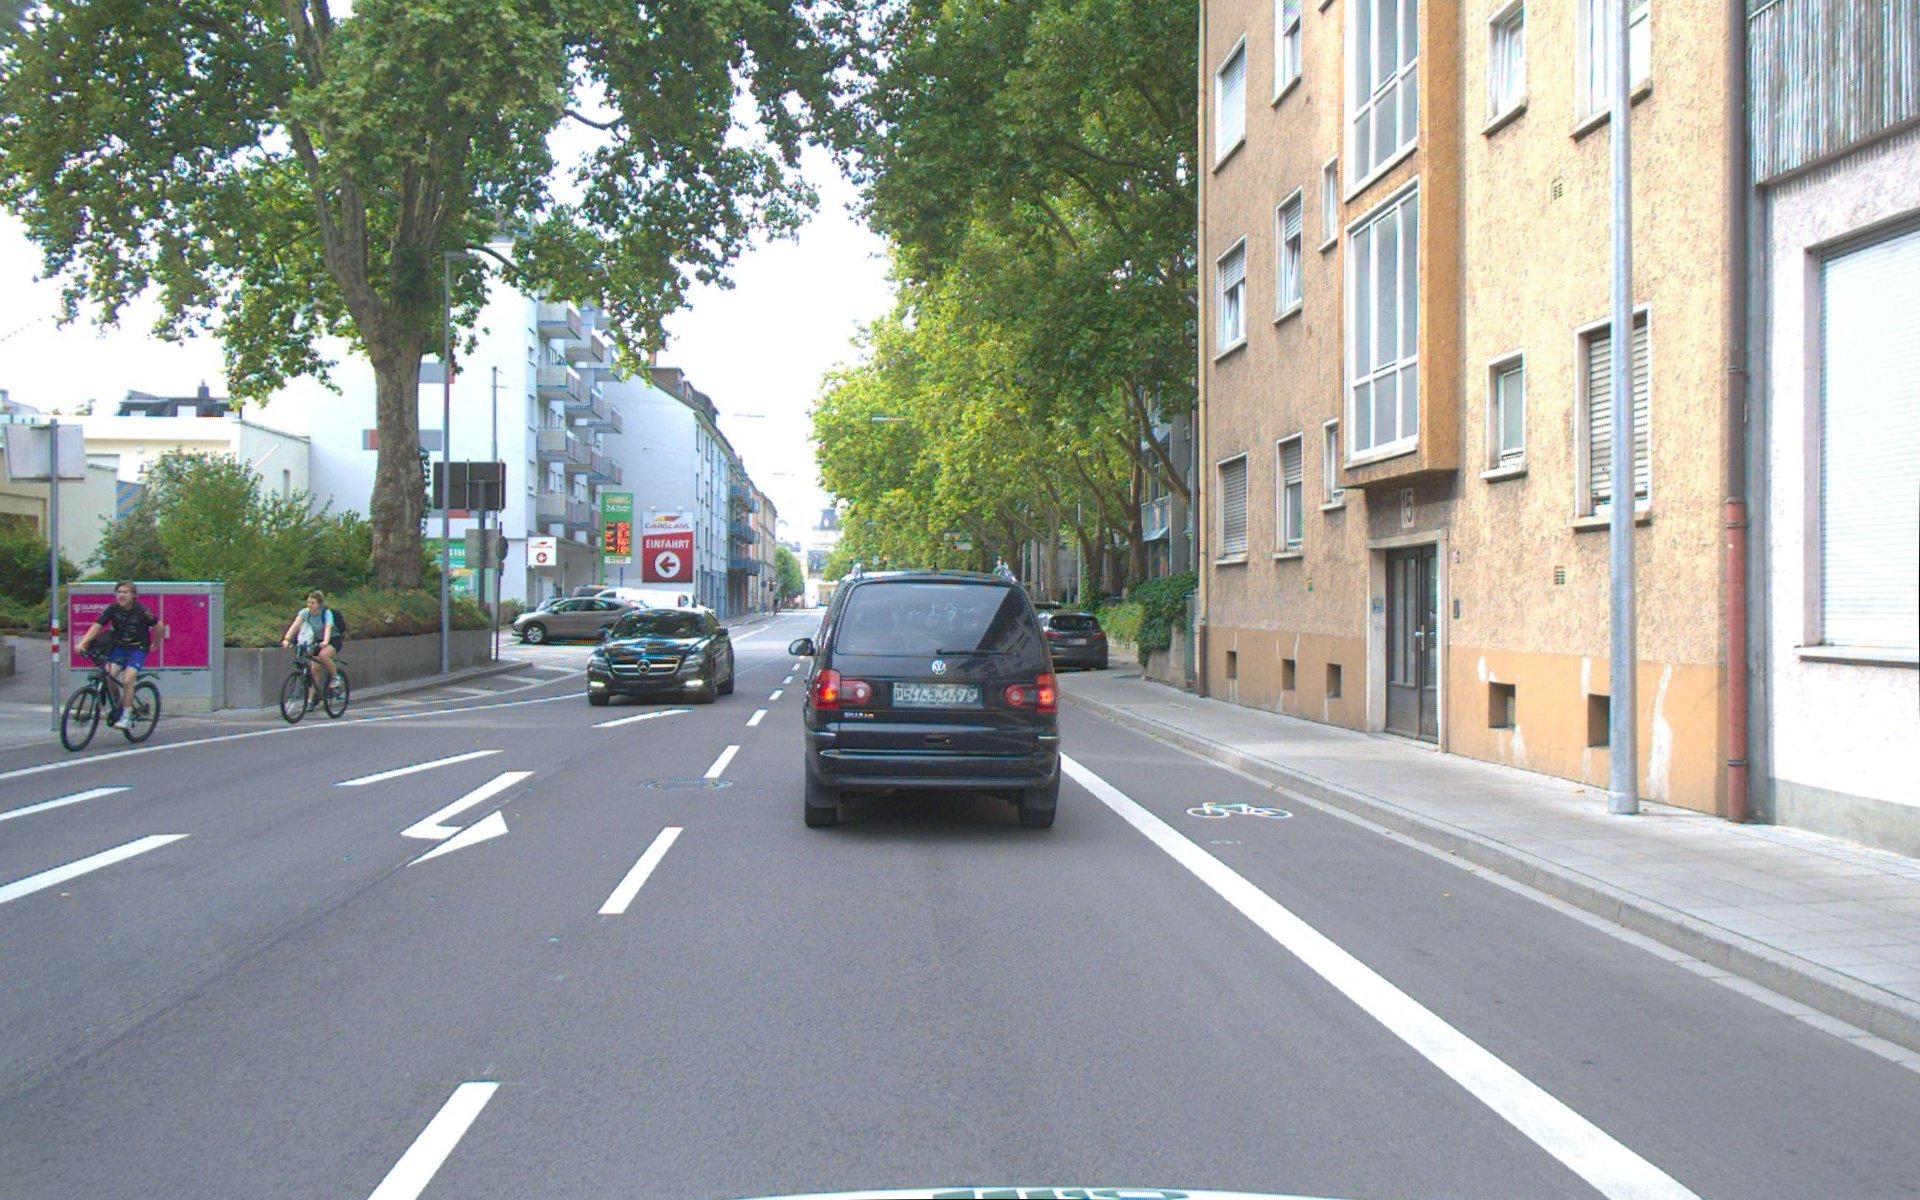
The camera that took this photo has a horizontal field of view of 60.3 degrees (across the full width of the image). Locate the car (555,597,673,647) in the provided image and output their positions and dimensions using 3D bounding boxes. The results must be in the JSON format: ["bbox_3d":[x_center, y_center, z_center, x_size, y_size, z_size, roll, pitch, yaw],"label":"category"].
[{"bbox_3d":[-12.448,0.789,59.625,3.861,1.597,1.753,2,0,-2],"label":"car"}]

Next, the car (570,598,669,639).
[{"bbox_3d":[-13.526,0.739,65.856,3.610,1.470,1.752,2,0,-5],"label":"car"}]

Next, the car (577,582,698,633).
[{"bbox_3d":[-13.791,0.336,70.943,4.820,1.936,1.998,3,-1,-5],"label":"car"}]

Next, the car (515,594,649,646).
[{"bbox_3d":[-12.995,0.675,57.003,4.172,1.633,1.967,2,1,-4],"label":"car"}]

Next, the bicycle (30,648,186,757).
[{"bbox_3d":[-9.404,1.101,18.347,0.722,1.024,1.976,2,1,-1],"label":"bicycle"}]

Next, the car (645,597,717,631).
[{"bbox_3d":[-13.496,0.682,80.060,3.278,1.523,1.594,2,-1,-6],"label":"car"}]

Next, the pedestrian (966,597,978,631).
[{"bbox_3d":[0.640,0.734,86.892,0.576,1.731,0.508,2,1,-3],"label":"pedestrian"}]

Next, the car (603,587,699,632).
[{"bbox_3d":[-14.480,0.461,77.666,4.224,1.902,1.822,2,-1,-6],"label":"car"}]

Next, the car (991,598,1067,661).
[{"bbox_3d":[2.014,0.844,49.454,1.626,1.679,4.414,2,0,-6],"label":"car"}]

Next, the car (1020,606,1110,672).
[{"bbox_3d":[2.464,0.890,39.525,1.625,1.447,3.863,0,1,-5],"label":"car"}]

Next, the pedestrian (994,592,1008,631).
[{"bbox_3d":[2.143,0.620,86.733,0.630,2.010,0.692,2,1,-3],"label":"pedestrian"}]

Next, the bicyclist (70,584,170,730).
[{"bbox_3d":[-9.324,0.618,18.384,0.643,1.552,0.856,2,1,0],"label":"bicyclist"}]

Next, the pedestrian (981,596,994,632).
[{"bbox_3d":[1.464,0.739,86.797,0.576,1.870,0.692,2,1,-3],"label":"pedestrian"}]

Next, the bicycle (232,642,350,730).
[{"bbox_3d":[-9.085,1.145,22.556,0.722,1.024,2.195,2,1,-1],"label":"bicycle"}]

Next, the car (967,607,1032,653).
[{"bbox_3d":[1.240,0.954,54.166,1.643,1.418,4.456,1,-1,-5],"label":"car"}]

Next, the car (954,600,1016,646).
[{"bbox_3d":[0.858,0.824,59.450,1.694,1.543,4.866,1,-1,-5],"label":"car"}]

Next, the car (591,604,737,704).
[{"bbox_3d":[-4.538,0.779,25.909,1.775,1.432,4.604,0,0,-4],"label":"car"}]

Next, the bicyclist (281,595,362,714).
[{"bbox_3d":[-8.739,0.730,22.664,0.643,1.552,1.076,2,1,0],"label":"bicyclist"}]

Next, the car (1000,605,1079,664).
[{"bbox_3d":[2.068,0.894,44.196,1.625,1.447,3.943,0,1,-5],"label":"car"}]

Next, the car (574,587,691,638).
[{"bbox_3d":[-13.512,0.520,68.420,4.437,1.911,2.045,2,0,-4],"label":"car"}]

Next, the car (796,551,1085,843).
[{"bbox_3d":[-0.260,0.588,12.182,1.777,1.797,3.734,1,1,-5],"label":"car"}]
